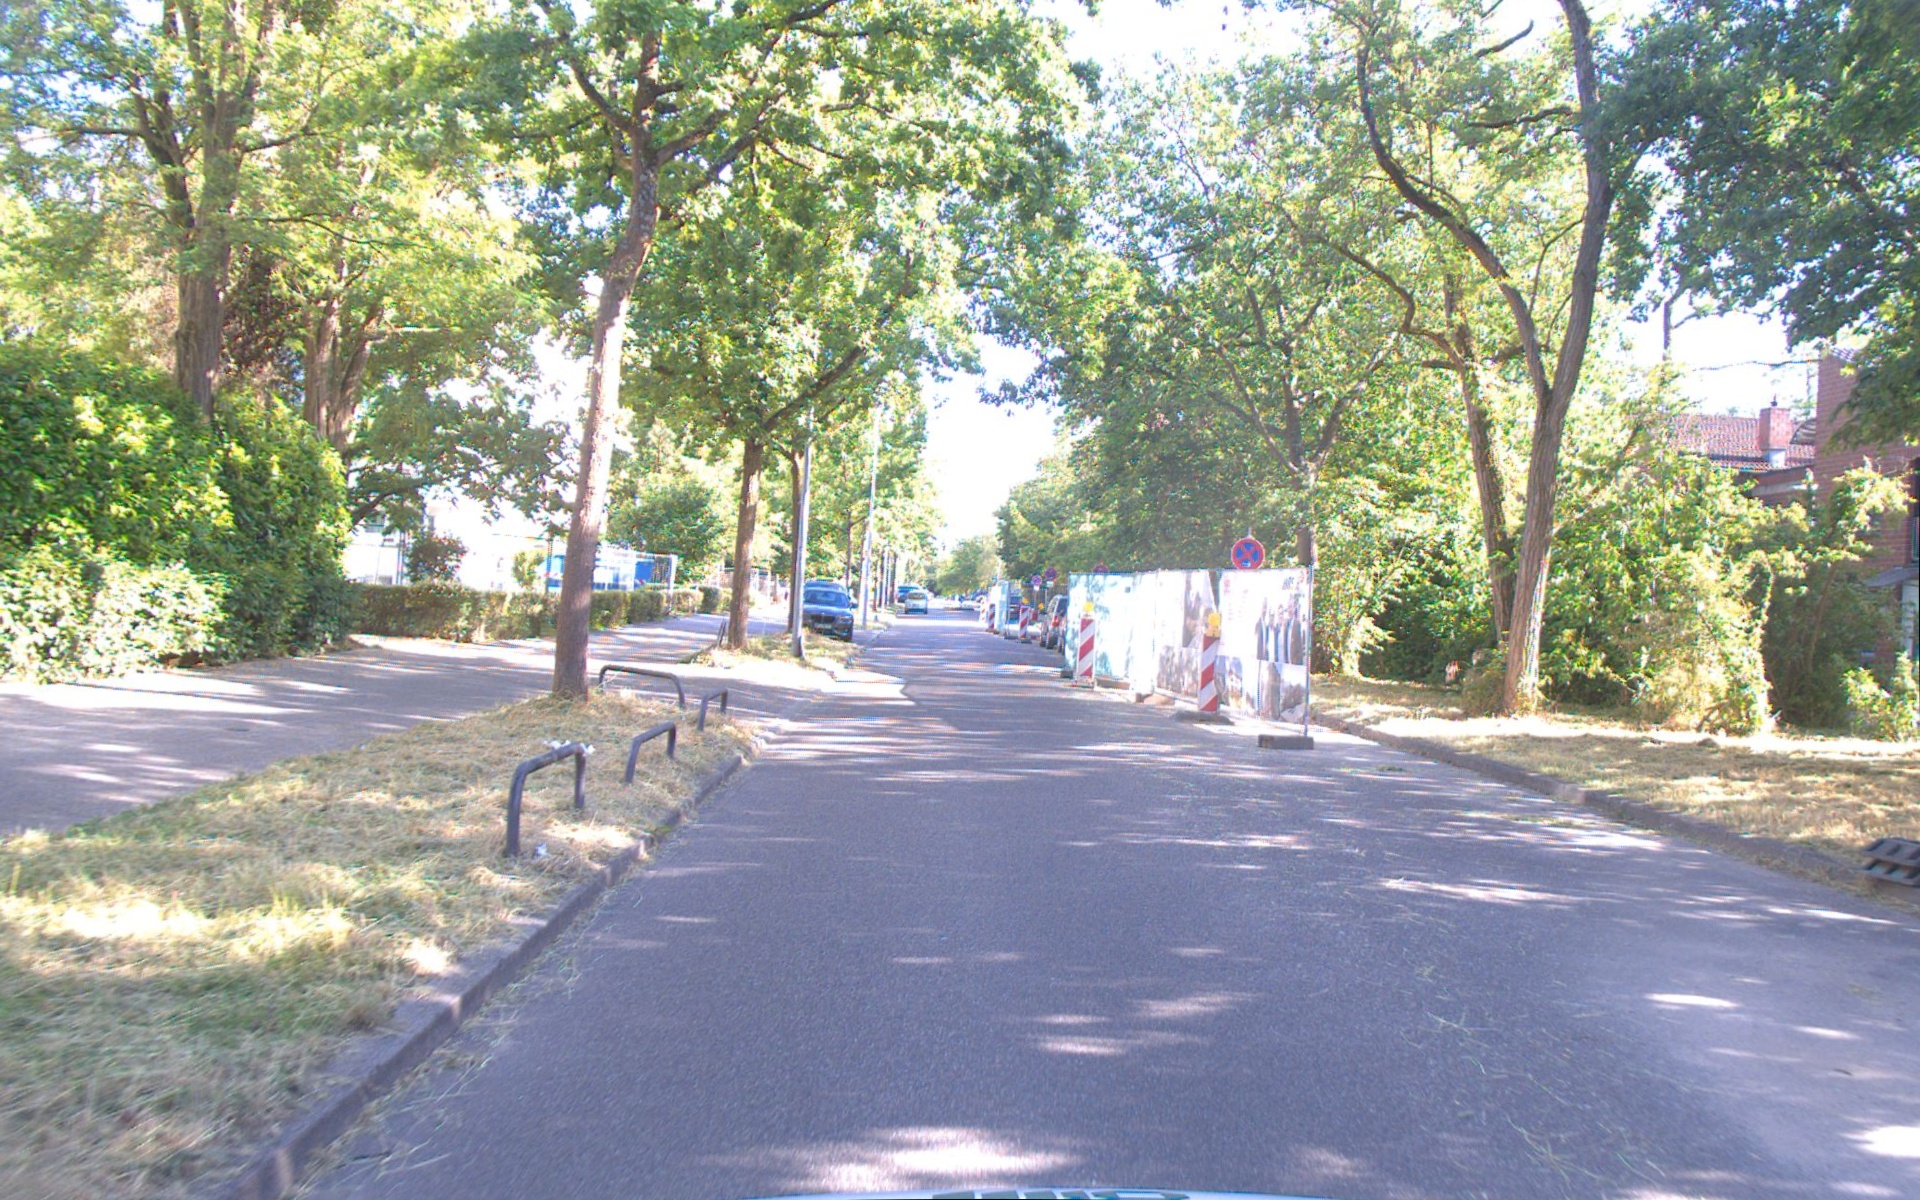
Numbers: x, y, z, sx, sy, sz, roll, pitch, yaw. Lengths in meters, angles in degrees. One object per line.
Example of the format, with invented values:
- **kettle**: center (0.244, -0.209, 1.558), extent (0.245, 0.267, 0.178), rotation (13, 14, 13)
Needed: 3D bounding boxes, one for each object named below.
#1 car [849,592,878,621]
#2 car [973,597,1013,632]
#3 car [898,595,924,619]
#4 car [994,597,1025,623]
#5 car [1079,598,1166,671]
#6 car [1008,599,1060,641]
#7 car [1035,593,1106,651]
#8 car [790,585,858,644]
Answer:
- **car**: center (-4.799, 0.321, 82.434), extent (1.335, 1.325, 3.478), rotation (4, -1, -4)
- **car**: center (1.362, 0.618, 70.066), extent (1.335, 1.325, 3.478), rotation (4, -1, -4)
- **car**: center (-3.639, 0.529, 122.289), extent (1.677, 1.612, 3.996), rotation (4, -1, -5)
- **car**: center (2.981, 0.575, 100.071), extent (1.757, 1.434, 4.000), rotation (3, 0, 0)
- **car**: center (3.650, 0.754, 37.520), extent (1.471, 1.503, 3.057), rotation (3, 0, -3)
- **car**: center (2.527, 0.679, 57.132), extent (1.335, 1.325, 3.478), rotation (4, -1, -4)
- **car**: center (3.392, 0.644, 51.250), extent (1.718, 1.623, 3.655), rotation (3, 0, -3)
- **car**: center (-3.834, 0.393, 47.226), extent (1.716, 1.503, 3.834), rotation (3, 0, -3)
